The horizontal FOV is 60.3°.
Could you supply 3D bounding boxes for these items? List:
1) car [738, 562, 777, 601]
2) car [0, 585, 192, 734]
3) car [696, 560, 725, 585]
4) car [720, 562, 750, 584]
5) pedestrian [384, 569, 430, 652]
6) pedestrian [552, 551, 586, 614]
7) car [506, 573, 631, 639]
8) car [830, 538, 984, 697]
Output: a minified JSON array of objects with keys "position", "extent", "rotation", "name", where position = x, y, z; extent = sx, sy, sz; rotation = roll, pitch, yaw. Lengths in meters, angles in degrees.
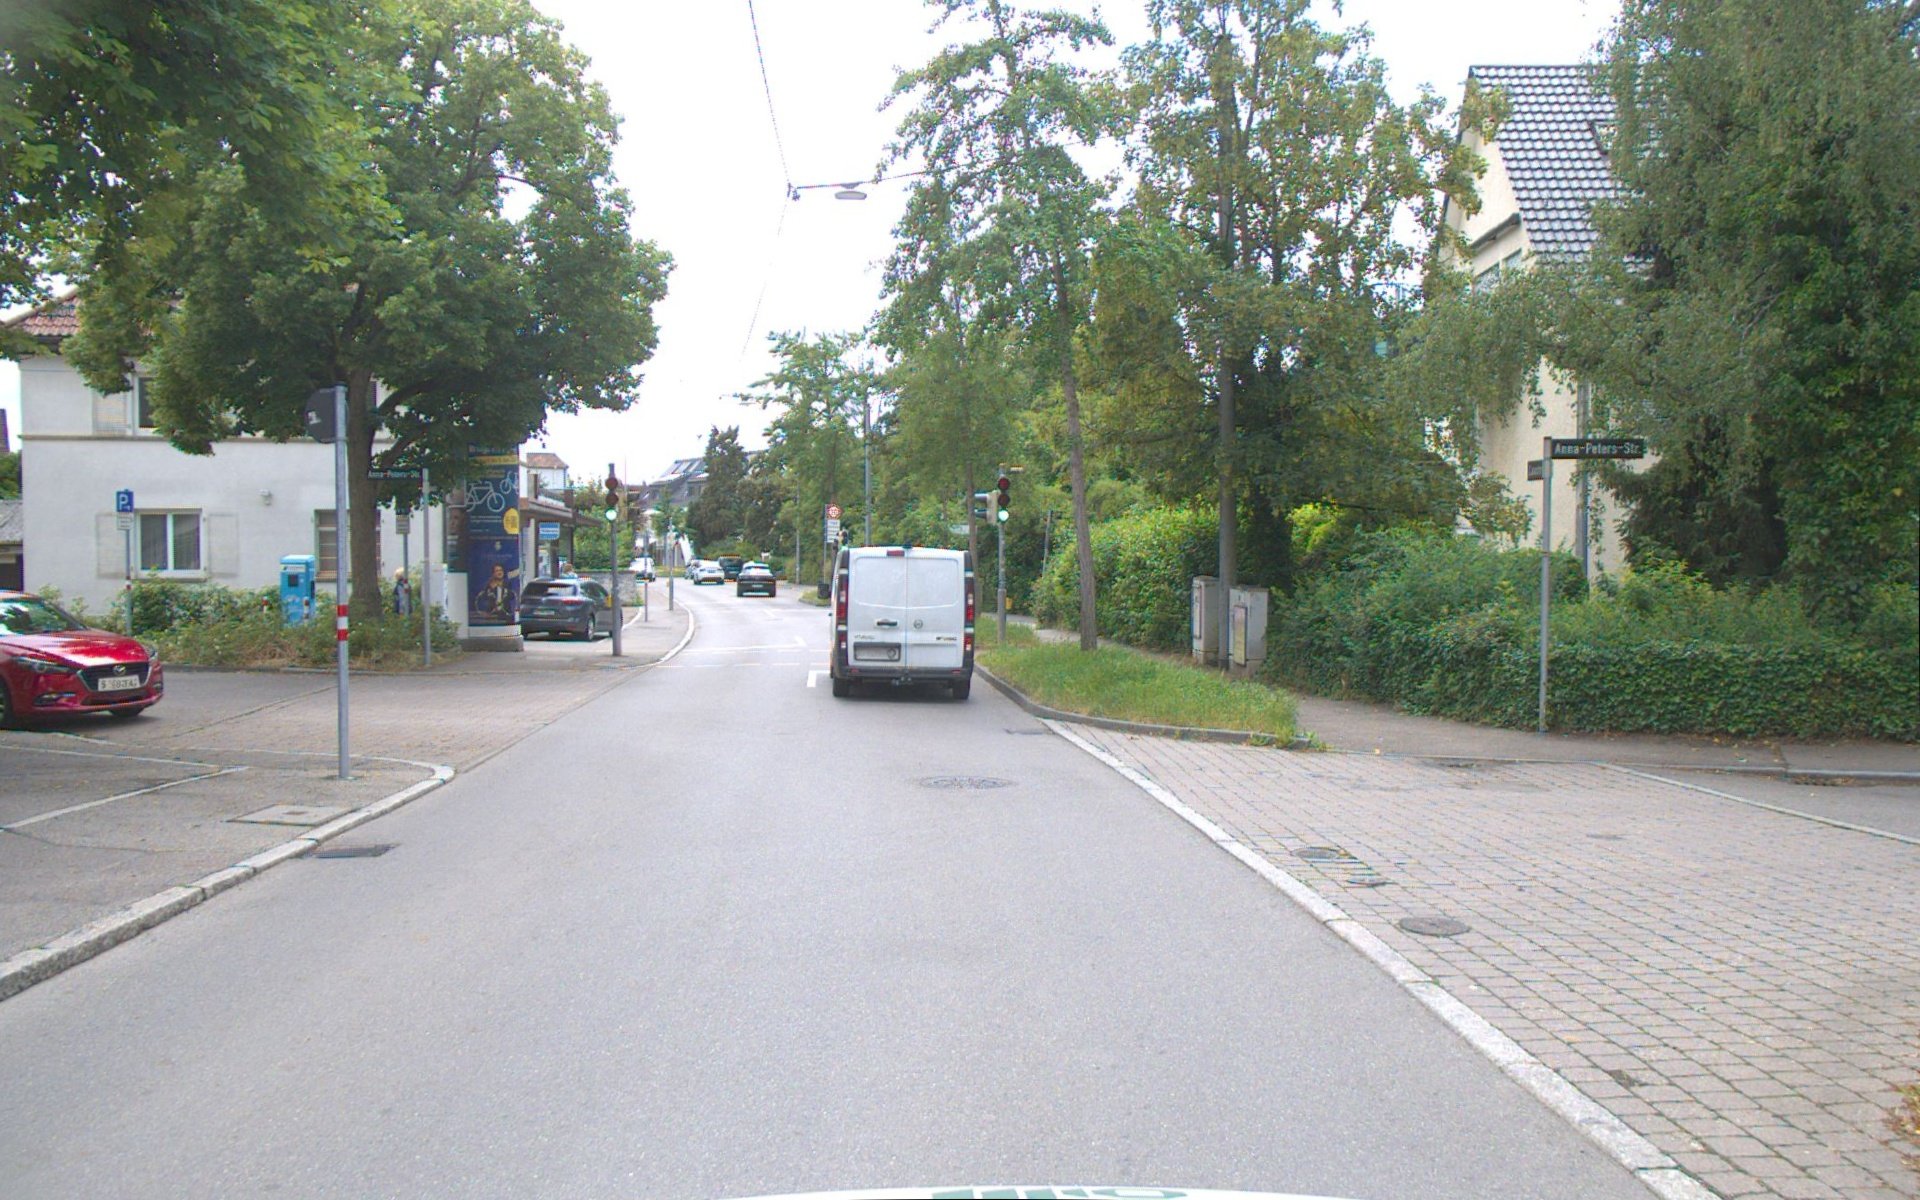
[{"position":[-10.181,-0.930,82.991],"extent":[1.861,1.892,4.397],"rotation":[1,1,-7],"name":"car"},{"position":[-11.015,0.601,18.854],"extent":[4.135,1.457,1.816],"rotation":[0,3,25],"name":"car"},{"position":[-17.607,-1.922,116.740],"extent":[1.793,1.758,3.989],"rotation":[1,1,-12],"name":"car"},{"position":[-17.384,-2.044,127.596],"extent":[1.861,1.639,4.485],"rotation":[1,1,-13],"name":"car"},{"position":[-11.081,0.200,33.153],"extent":[0.683,1.644,0.715],"rotation":[1,1,-1],"name":"pedestrian"},{"position":[-11.197,-0.501,47.356],"extent":[0.867,1.781,0.961],"rotation":[2,0,-12],"name":"pedestrian"},{"position":[-9.387,0.139,39.989],"extent":[1.742,1.466,4.526],"rotation":[2,0,2],"name":"car"},{"position":[-0.841,0.199,23.100],"extent":[1.892,1.998,4.397],"rotation":[1,1,-5],"name":"car"}]
